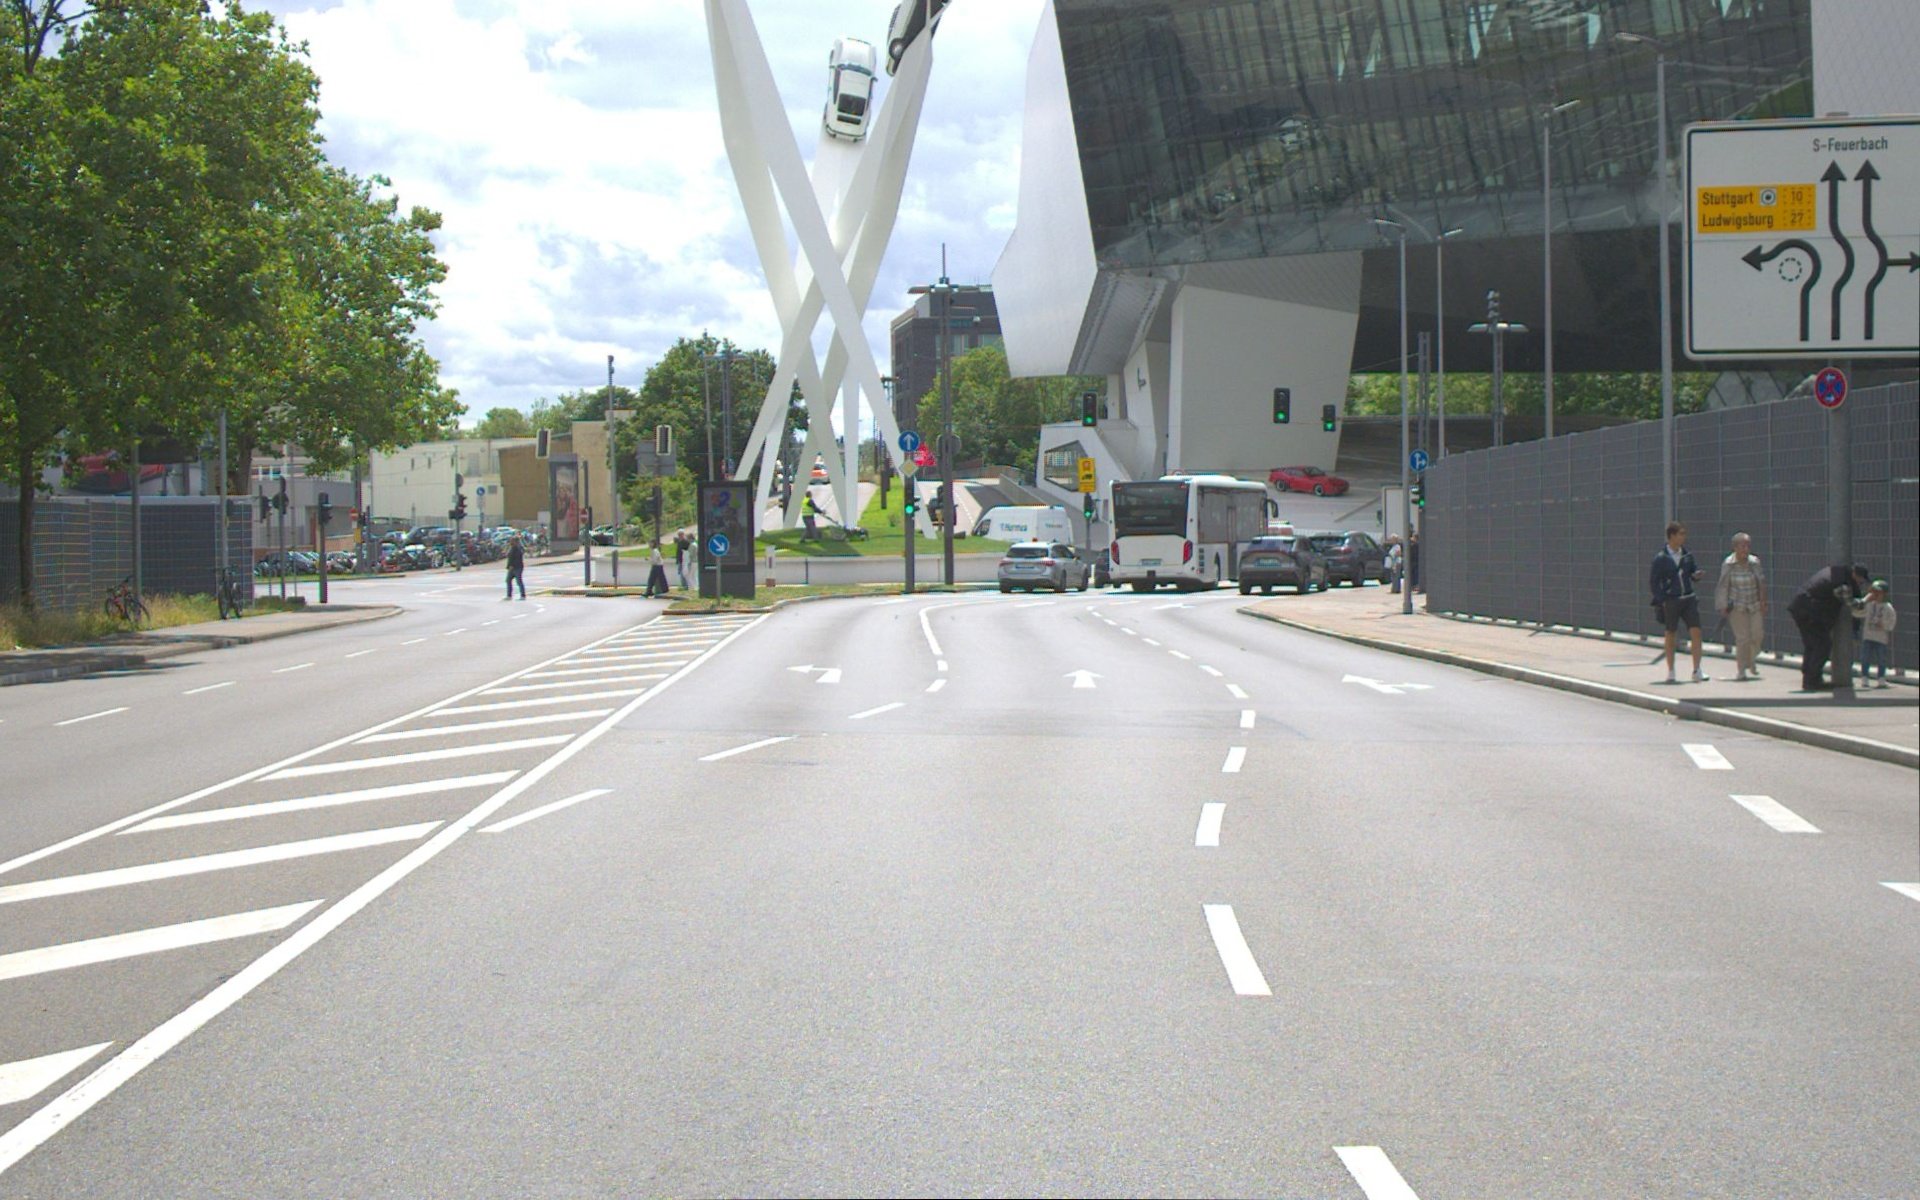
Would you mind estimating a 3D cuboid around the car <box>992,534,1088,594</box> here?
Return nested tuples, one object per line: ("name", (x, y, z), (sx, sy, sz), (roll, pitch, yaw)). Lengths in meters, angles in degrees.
("car", (2.303, -1.012, 97.877), (1.994, 1.631, 3.998), (1, 0, 12))

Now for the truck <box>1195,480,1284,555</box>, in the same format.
("truck", (9.914, -2.890, 121.382), (2.209, 2.507, 5.129), (1, 0, 15))

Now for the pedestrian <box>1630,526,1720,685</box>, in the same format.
("pedestrian", (7.825, 0.061, 37.630), (0.794, 1.715, 0.732), (1, 0, -1))

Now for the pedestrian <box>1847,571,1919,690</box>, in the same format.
("pedestrian", (9.516, 0.309, 35.202), (0.714, 1.202, 0.598), (1, 0, 3))

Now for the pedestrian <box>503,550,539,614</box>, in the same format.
("pedestrian", (-12.293, -0.507, 96.265), (0.863, 1.768, 1.036), (1, 0, -14))

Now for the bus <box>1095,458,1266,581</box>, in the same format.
("bus", (6.665, -2.296, 101.829), (3.073, 3.350, 12.216), (1, 0, 13))

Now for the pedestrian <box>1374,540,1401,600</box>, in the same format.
("pedestrian", (11.699, -0.819, 94.133), (0.659, 1.602, 0.822), (1, 0, 10))

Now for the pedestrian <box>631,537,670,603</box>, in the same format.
("pedestrian", (-8.369, -0.806, 92.855), (0.863, 1.768, 1.036), (1, 0, -14))

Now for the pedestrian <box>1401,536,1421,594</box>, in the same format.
("pedestrian", (12.698, -0.976, 96.747), (0.464, 1.610, 0.663), (1, 0, 2))

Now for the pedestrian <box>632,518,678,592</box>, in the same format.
("pedestrian", (-8.478, -1.245, 95.656), (0.953, 2.048, 0.950), (1, 0, 18))

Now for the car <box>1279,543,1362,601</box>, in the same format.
("car", (10.622, -0.815, 101.086), (1.994, 1.631, 3.998), (1, 0, 12))

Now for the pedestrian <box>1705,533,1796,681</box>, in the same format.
("pedestrian", (8.676, 0.073, 37.772), (0.794, 1.591, 0.732), (1, 0, -1))

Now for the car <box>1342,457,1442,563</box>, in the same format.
("car", (15.323, -3.133, 121.795), (3.336, 3.492, 9.339), (1, 0, 7))

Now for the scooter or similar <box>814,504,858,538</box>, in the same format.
("scooter or similar", (-4.118, -2.636, 114.366), (1.400, 1.022, 0.550), (-2, 7, 3))

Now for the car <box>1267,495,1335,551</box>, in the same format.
("car", (12.482, -2.805, 125.707), (1.994, 1.926, 4.238), (1, 0, 12))

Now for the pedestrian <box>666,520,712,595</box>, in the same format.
("pedestrian", (-7.485, -1.167, 94.911), (0.953, 2.048, 0.950), (1, 0, 18))

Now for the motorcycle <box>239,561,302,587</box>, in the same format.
("motorcycle", (-33.076, -1.232, 164.905), (2.906, 1.192, 0.919), (1, 0, 18))

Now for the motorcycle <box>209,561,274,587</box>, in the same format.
("motorcycle", (-33.965, -1.233, 162.514), (2.906, 1.192, 0.919), (1, 0, 18))

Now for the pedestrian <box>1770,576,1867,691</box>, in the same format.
("pedestrian", (8.736, 0.337, 35.012), (0.757, 1.145, 0.971), (1, 0, 2))

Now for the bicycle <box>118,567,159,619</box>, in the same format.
("bicycle", (-15.910, -0.138, 66.559), (0.296, 1.002, 1.251), (1, 0, 9))

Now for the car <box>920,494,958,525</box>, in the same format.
("car", (-1.146, -5.030, 191.488), (1.993, 1.630, 4.656), (1, 2, 1))

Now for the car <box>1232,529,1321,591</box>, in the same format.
("car", (8.762, -1.116, 94.847), (1.994, 1.631, 3.998), (1, 2, 12))

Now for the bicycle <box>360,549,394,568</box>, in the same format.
("bicycle", (-26.725, -1.892, 157.664), (1.609, 0.863, 0.492), (1, 0, 33))

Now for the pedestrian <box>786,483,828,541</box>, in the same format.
("pedestrian", (-5.087, -2.930, 114.105), (1.281, 1.810, 0.987), (-3, 5, -2))

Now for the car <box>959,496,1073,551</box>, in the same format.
("car", (2.252, -3.115, 140.102), (1.994, 2.163, 4.653), (1, 0, -42))

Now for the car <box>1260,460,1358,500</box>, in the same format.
("car", (17.069, -5.878, 168.400), (1.995, 1.390, 4.511), (-6, 12, -44))

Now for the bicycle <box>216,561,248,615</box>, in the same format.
("bicycle", (-15.459, -0.258, 72.995), (0.296, 1.127, 1.485), (1, 0, 2))

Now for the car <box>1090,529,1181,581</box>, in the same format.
("car", (5.700, -1.442, 111.330), (1.995, 1.631, 3.996), (1, 0, 17))

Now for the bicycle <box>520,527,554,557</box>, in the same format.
("bicycle", (-20.370, -2.797, 165.568), (1.605, 1.378, 0.493), (1, 0, -1))
